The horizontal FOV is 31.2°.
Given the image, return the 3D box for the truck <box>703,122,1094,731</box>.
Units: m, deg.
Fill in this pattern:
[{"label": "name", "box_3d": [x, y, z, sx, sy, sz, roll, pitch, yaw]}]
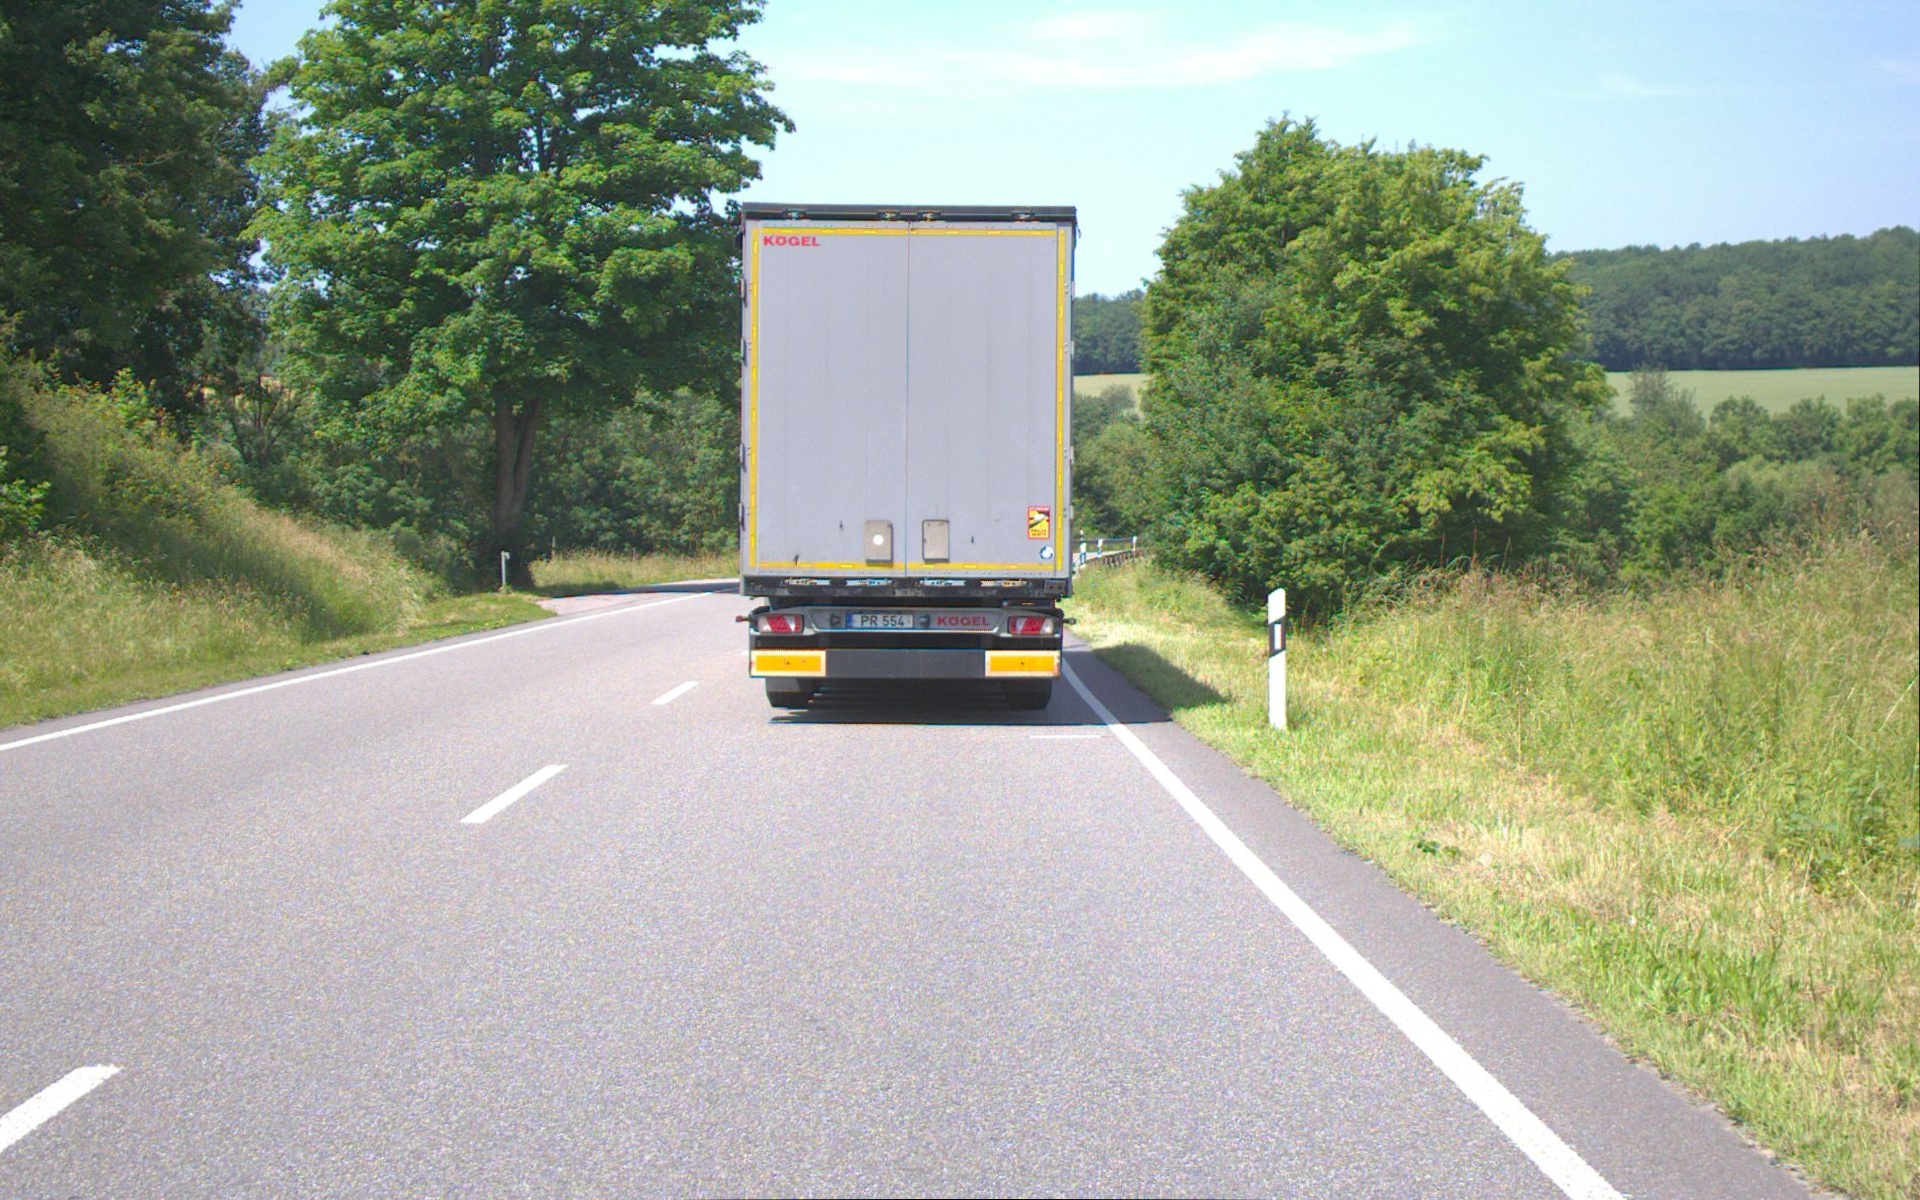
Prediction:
[{"label": "truck", "box_3d": [-0.505, -1.451, 31.924, 2.817, 4.517, 11.769, 2, 1, 0]}]
